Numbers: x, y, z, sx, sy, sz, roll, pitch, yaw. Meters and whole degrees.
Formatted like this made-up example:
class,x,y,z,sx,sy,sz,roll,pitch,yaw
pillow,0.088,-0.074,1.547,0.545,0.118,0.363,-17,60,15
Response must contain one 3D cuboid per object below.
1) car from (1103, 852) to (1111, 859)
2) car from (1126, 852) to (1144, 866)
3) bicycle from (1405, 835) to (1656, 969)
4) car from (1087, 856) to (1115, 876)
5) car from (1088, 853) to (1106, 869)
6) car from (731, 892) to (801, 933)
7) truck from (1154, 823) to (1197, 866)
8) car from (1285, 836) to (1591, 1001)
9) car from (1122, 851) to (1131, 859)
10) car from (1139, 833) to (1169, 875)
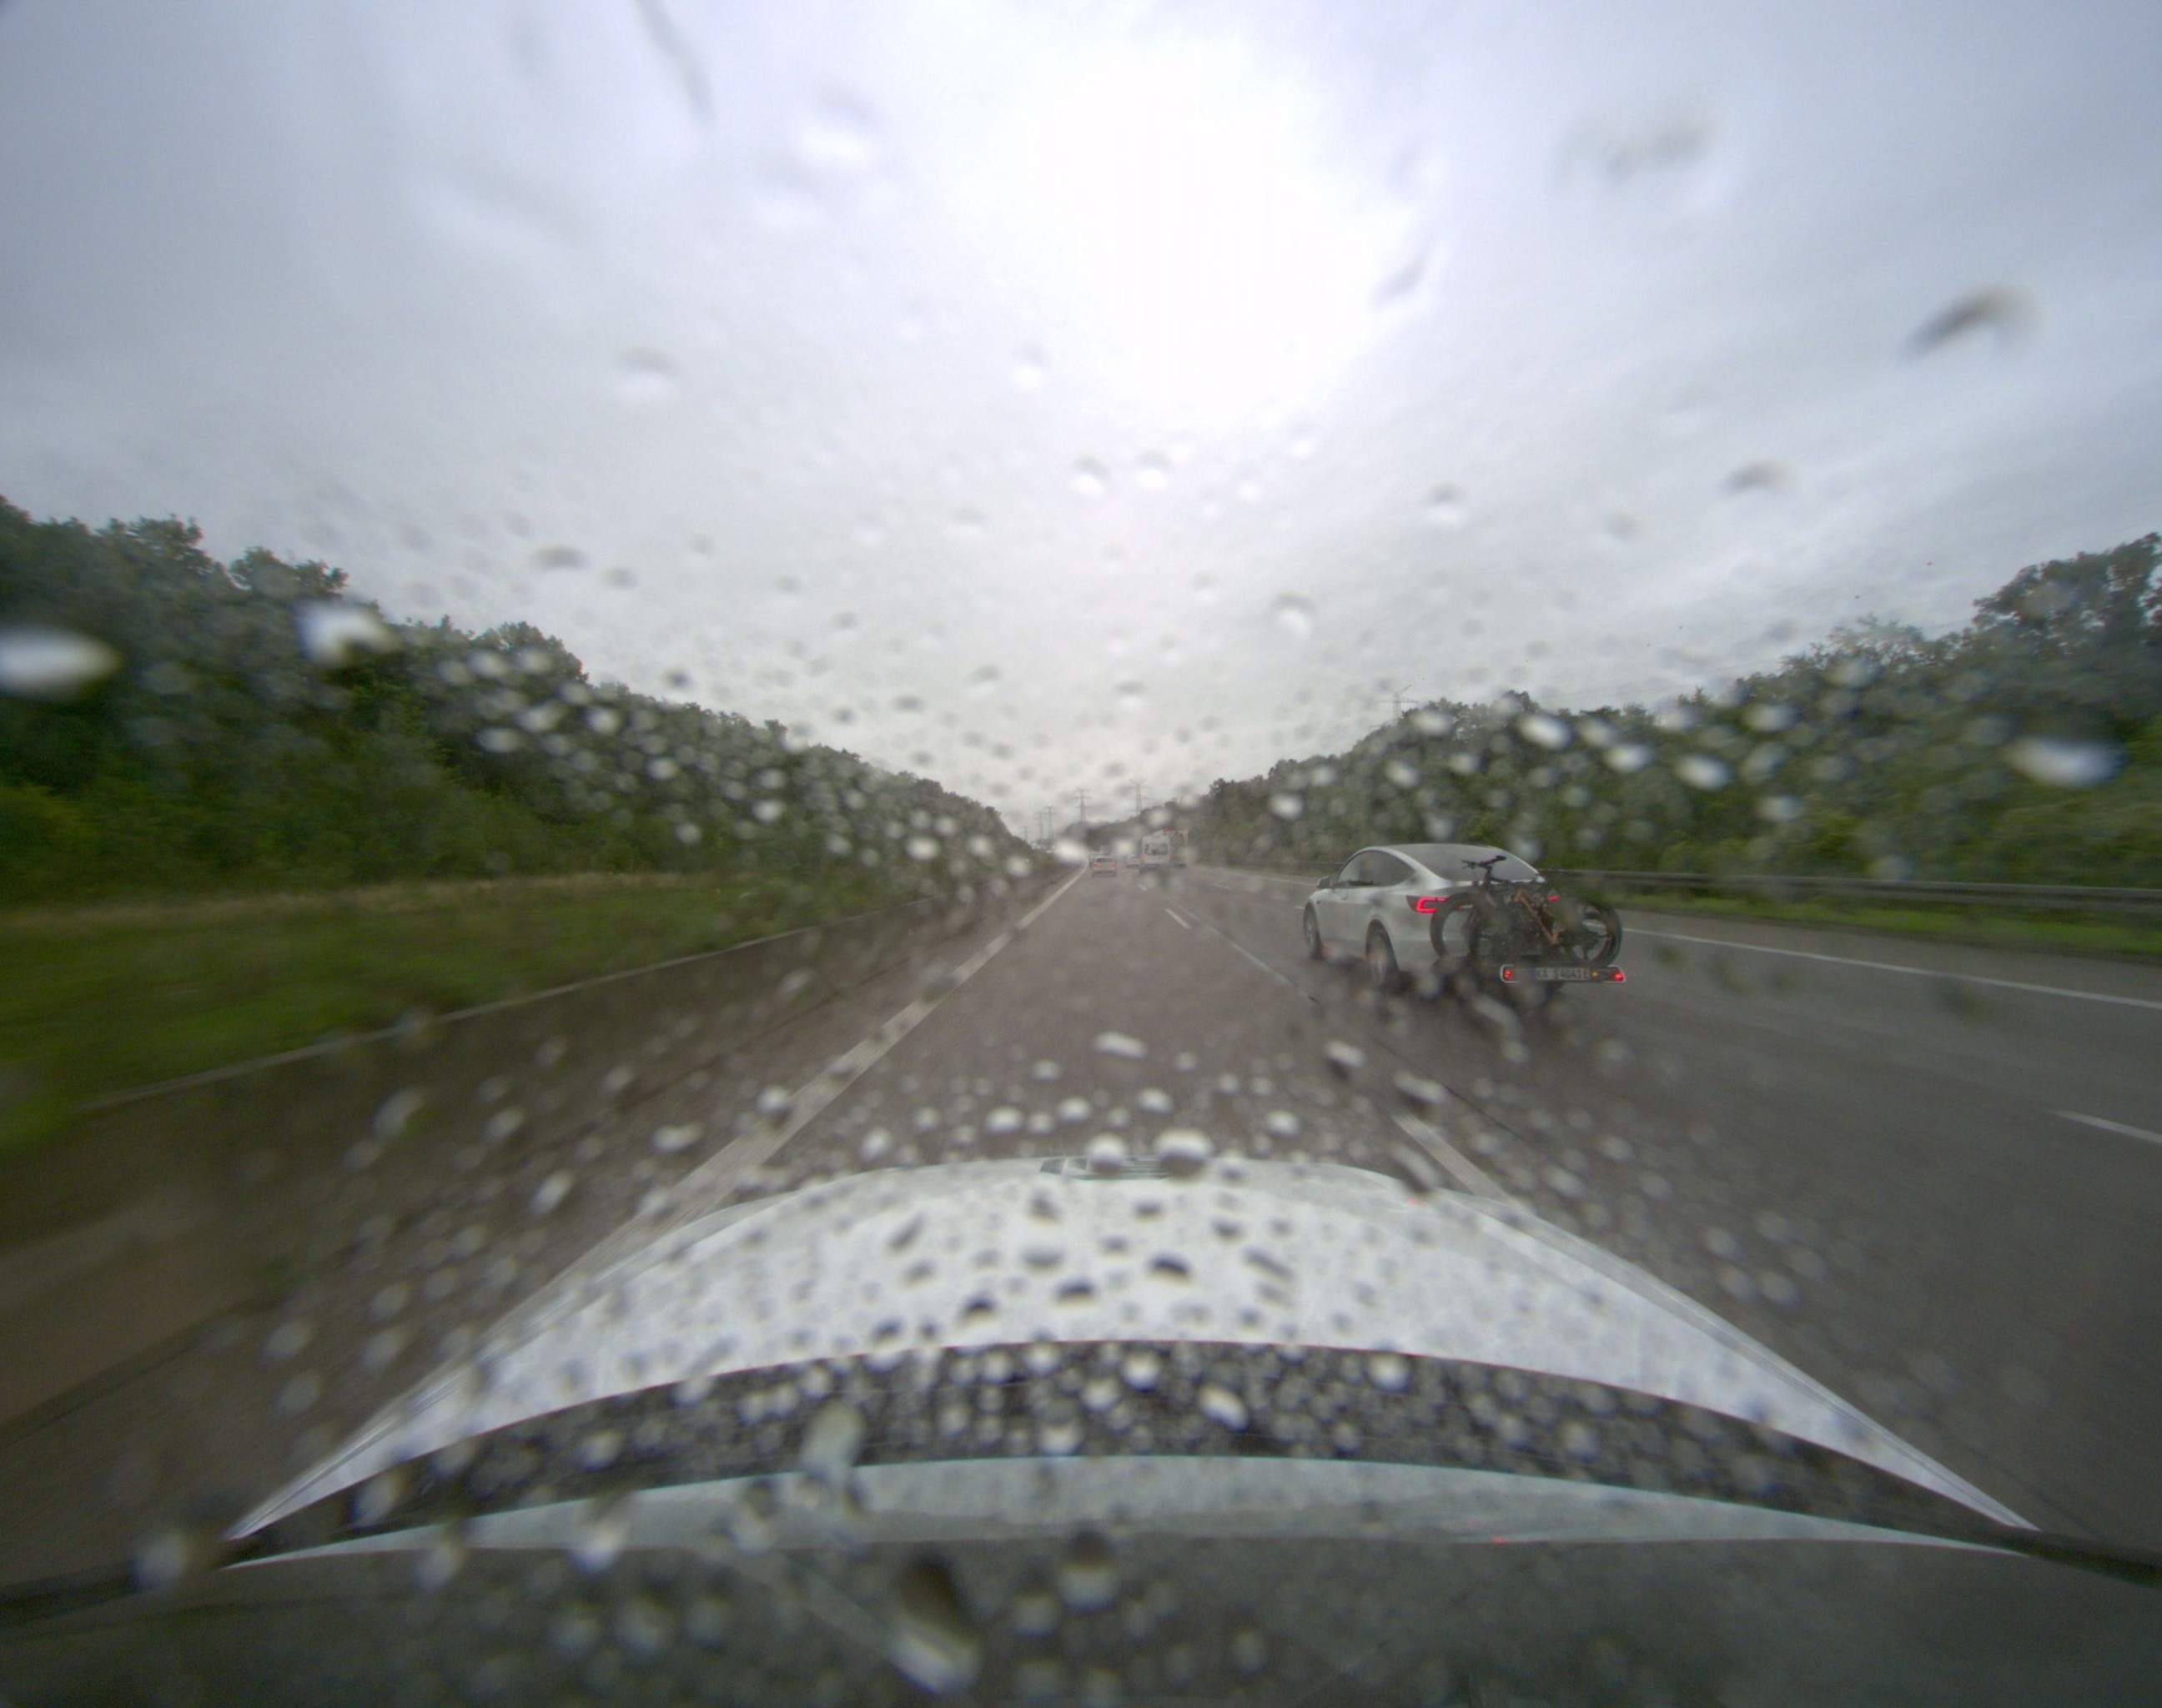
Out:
class,x,y,z,sx,sy,sz,roll,pitch,yaw
car,6.838,0.410,217.680,1.985,1.574,4.003,-3,-1,3
car,5.796,0.499,87.804,1.849,1.422,4.004,-2,0,4
bicycle,4.008,0.420,7.396,1.747,1.090,0.914,-2,-1,1
car,1.510,0.811,58.647,1.859,1.288,4.003,-3,0,3
car,1.821,0.769,91.157,1.838,1.772,4.003,-3,0,3
car,-13.951,2.555,36.274,1.654,1.486,3.477,-3,0,1
truck,10.329,-0.921,90.276,3.589,4.332,13.205,-2,0,2
car,4.074,0.627,10.374,1.853,1.568,4.966,-1,0,2
car,10.388,0.239,186.456,1.986,1.486,4.002,-4,-1,2
car,5.173,-0.024,57.768,1.985,2.864,4.004,-1,0,4
